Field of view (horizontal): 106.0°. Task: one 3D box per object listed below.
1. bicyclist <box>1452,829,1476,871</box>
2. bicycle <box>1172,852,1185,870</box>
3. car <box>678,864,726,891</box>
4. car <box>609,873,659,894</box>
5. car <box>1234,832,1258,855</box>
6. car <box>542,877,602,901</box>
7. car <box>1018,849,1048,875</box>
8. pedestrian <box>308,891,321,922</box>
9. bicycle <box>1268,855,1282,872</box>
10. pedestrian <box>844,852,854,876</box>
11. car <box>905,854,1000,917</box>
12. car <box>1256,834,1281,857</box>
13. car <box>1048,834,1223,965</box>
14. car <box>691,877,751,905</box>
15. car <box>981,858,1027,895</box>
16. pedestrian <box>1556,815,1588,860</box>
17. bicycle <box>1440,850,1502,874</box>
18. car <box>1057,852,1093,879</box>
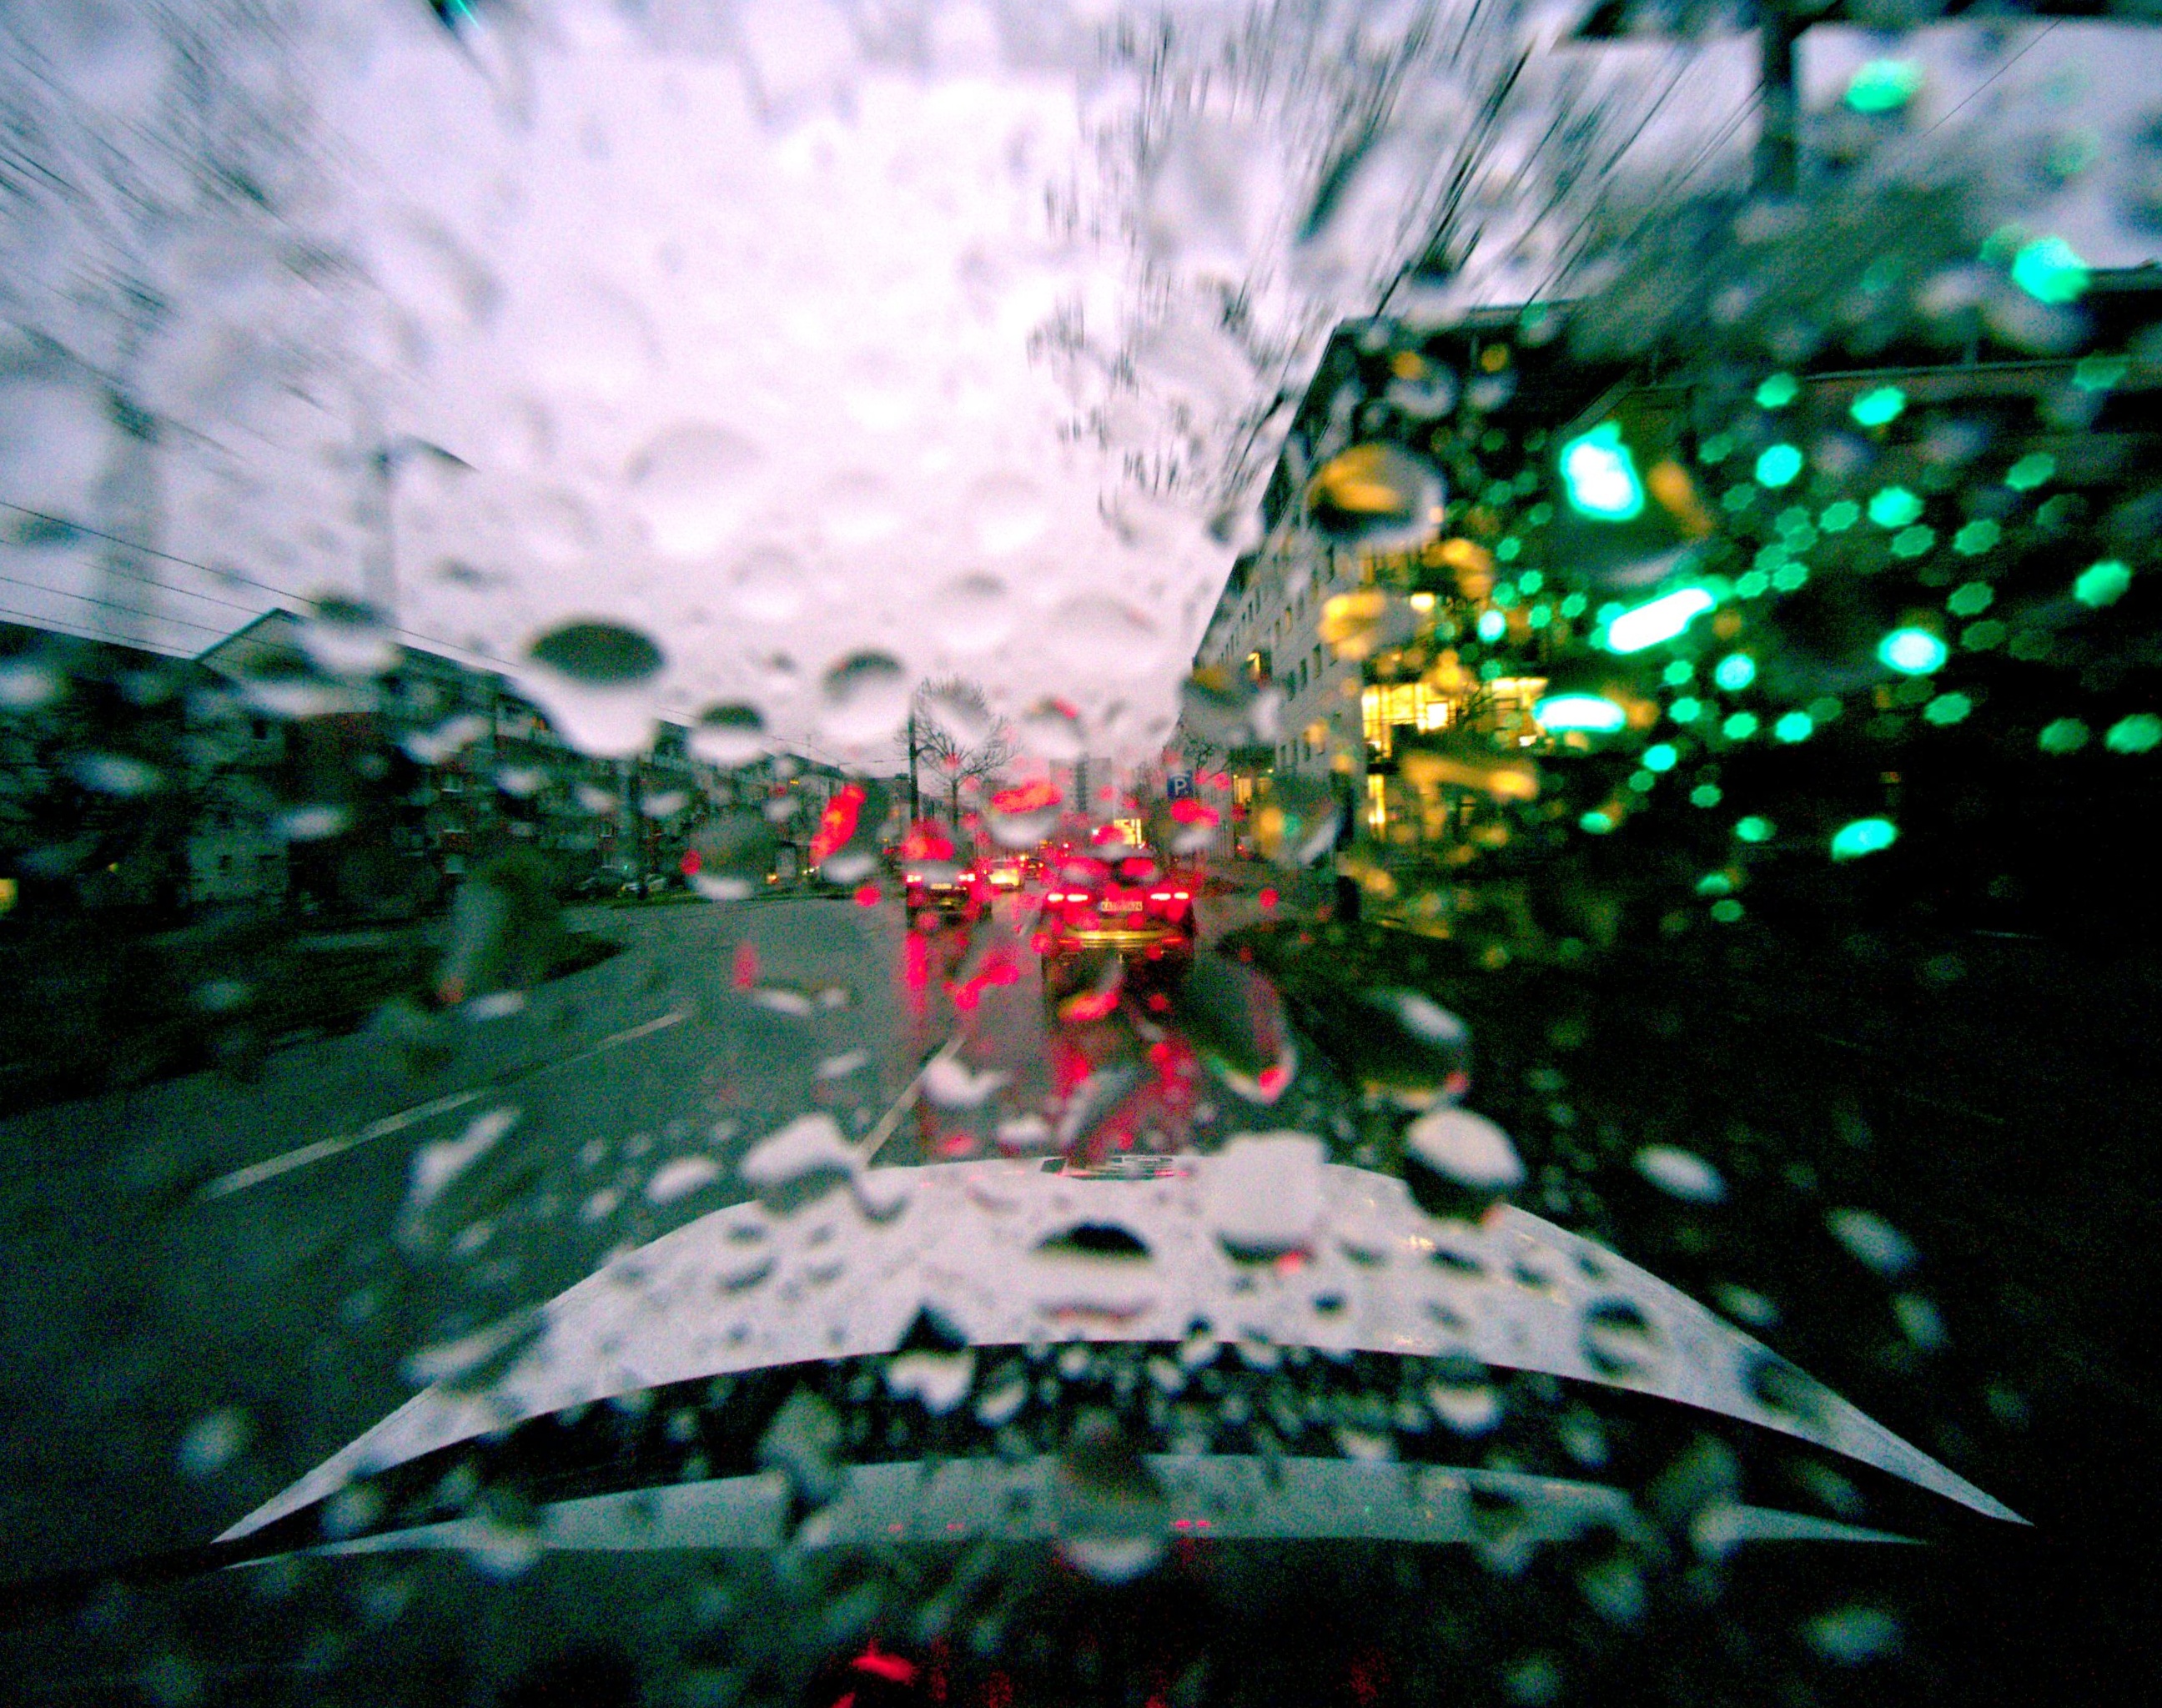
[{"bbox_3d":[12.361,-0.135,26.300,0.615,1.330,0.569,0,0,35],"label":"bicyclist"},{"bbox_3d":[5.442,0.395,45.345,0.543,0.965,1.345,0,0,0],"label":"bicycle"},{"bbox_3d":[-30.193,1.839,64.990,1.988,2.013,3.997,0,0,-2],"label":"car"},{"bbox_3d":[-30.572,2.014,55.800,1.439,1.287,3.387,0,0,1],"label":"car"},{"bbox_3d":[13.023,-0.829,64.358,1.619,1.759,3.428,0,0,7],"label":"car"},{"bbox_3d":[-31.052,2.131,49.789,1.439,1.287,3.387,0,0,1],"label":"car"},{"bbox_3d":[-3.335,0.569,57.386,1.655,1.759,3.571,0,0,3],"label":"car"},{"bbox_3d":[-30.950,2.111,32.870,0.348,1.184,0.429,0,-1,-39],"label":"pedestrian"},{"bbox_3d":[11.075,0.531,46.498,0.373,0.929,1.076,-1,1,-13],"label":"bicycle"},{"bbox_3d":[-16.067,0.682,56.388,0.490,1.656,0.465,0,0,18],"label":"pedestrian"},{"bbox_3d":[-3.235,0.745,21.277,1.811,1.450,4.000,0,0,0],"label":"car"},{"bbox_3d":[14.770,-0.624,64.244,1.619,1.759,3.428,0,0,7],"label":"car"},{"bbox_3d":[0.682,0.527,11.152,1.986,1.483,3.701,0,0,2],"label":"car"},{"bbox_3d":[-18.957,1.923,43.038,1.439,1.342,3.638,0,0,1],"label":"car"},{"bbox_3d":[-3.565,1.016,38.257,1.683,1.635,3.475,0,0,2],"label":"car"},{"bbox_3d":[18.564,-0.617,30.787,0.804,1.654,0.727,0,0,4],"label":"pedestrian"},{"bbox_3d":[12.513,0.264,26.139,1.711,0.745,0.656,0,0,35],"label":"bicycle"},{"bbox_3d":[-0.317,0.647,49.167,1.858,1.543,3.615,0,0,5],"label":"car"}]
